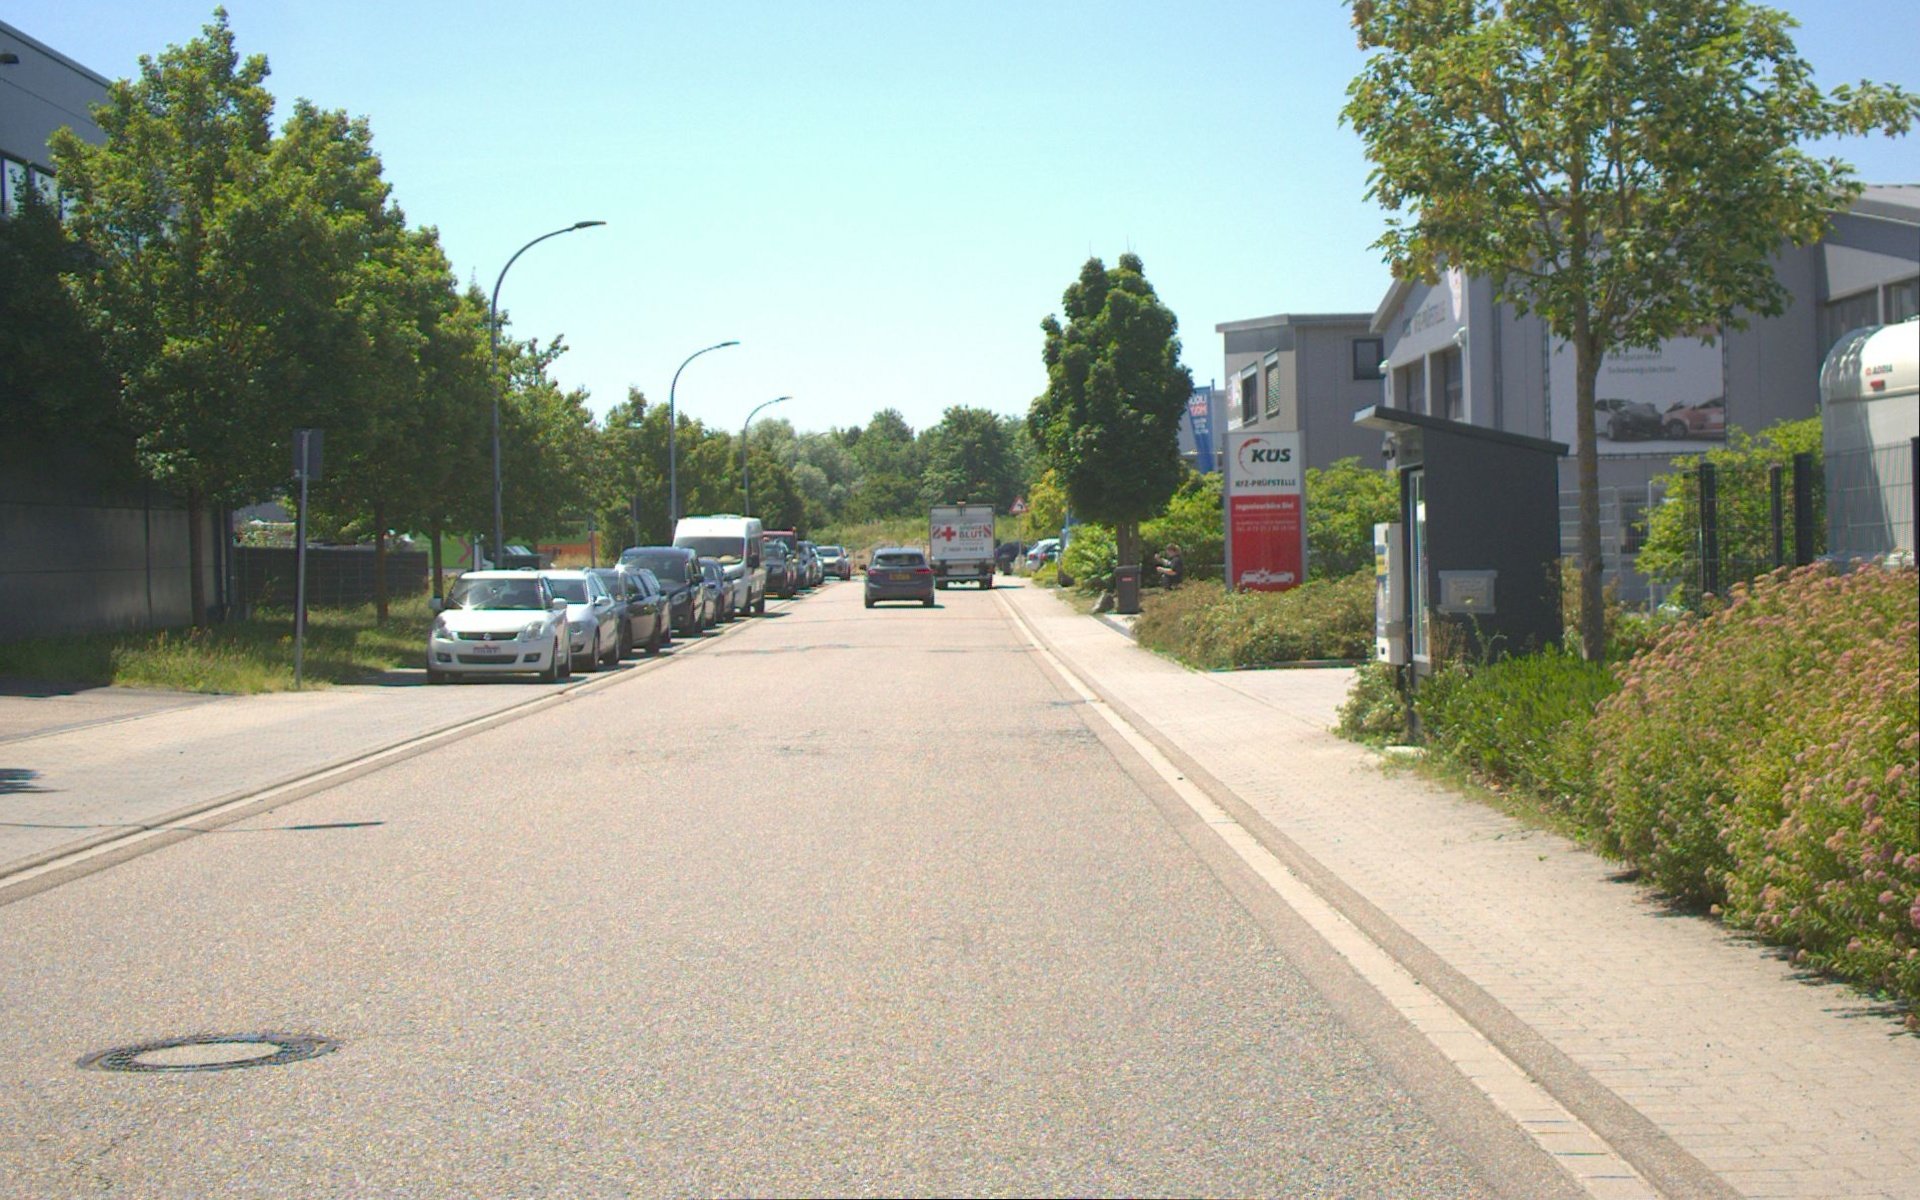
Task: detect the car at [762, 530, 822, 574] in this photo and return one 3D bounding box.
[{"bbox_3d":[-5.870,-1.694,120.574,1.799,1.482,4.252,0,1,2],"label":"car"}]

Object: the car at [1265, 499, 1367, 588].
[{"bbox_3d":[7.560,-1.173,73.386,1.785,1.777,4.905,-2,0,2],"label":"car"}]

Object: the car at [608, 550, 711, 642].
[{"bbox_3d":[-6.123,-0.107,70.406,1.799,1.808,4.252,0,1,-1],"label":"car"}]

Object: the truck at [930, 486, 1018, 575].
[{"bbox_3d":[0.488,-2.386,119.082,2.933,2.963,6.419,1,1,0],"label":"truck"}]

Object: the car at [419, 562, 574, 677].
[{"bbox_3d":[-6.218,0.229,46.431,1.720,1.471,3.858,-1,1,-2],"label":"car"}]

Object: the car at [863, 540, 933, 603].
[{"bbox_3d":[-1.626,-0.774,91.322,1.789,1.618,3.809,1,1,0],"label":"car"}]

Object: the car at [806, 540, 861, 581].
[{"bbox_3d":[-4.787,-1.527,130.644,1.799,1.482,4.252,0,1,2],"label":"car"}]

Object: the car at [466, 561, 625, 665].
[{"bbox_3d":[-6.176,0.157,51.692,1.799,1.471,4.555,0,1,0],"label":"car"}]

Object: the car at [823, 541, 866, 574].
[{"bbox_3d":[-5.531,-2.045,165.268,1.799,1.482,4.252,0,1,2],"label":"car"}]

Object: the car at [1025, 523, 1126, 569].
[{"bbox_3d":[4.580,-2.138,136.665,3.875,1.744,1.752,1,1,-2],"label":"car"}]

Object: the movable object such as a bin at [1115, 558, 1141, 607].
[{"bbox_3d":[3.707,-0.384,75.685,0.531,1.049,0.845,-1,1,2],"label":"movable object such as a bin"}]

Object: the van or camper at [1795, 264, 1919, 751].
[{"bbox_3d":[8.449,-0.594,19.384,6.757,2.576,2.636,-2,1,-1],"label":"van or camper"}]

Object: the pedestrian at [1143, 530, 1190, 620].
[{"bbox_3d":[3.809,-0.453,63.364,0.499,1.608,0.714,-5,1,-18],"label":"pedestrian"}]

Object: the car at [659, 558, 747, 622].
[{"bbox_3d":[-6.015,-0.250,80.908,1.799,1.444,4.252,0,1,-1],"label":"car"}]

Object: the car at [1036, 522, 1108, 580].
[{"bbox_3d":[3.645,-1.598,112.541,1.993,1.797,4.140,-2,1,-2],"label":"car"}]

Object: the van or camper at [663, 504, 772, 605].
[{"bbox_3d":[-6.147,-1.164,87.807,2.079,2.474,6.130,1,1,2],"label":"van or camper"}]

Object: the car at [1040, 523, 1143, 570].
[{"bbox_3d":[5.116,-2.095,134.186,3.875,1.744,1.752,1,1,-2],"label":"car"}]
